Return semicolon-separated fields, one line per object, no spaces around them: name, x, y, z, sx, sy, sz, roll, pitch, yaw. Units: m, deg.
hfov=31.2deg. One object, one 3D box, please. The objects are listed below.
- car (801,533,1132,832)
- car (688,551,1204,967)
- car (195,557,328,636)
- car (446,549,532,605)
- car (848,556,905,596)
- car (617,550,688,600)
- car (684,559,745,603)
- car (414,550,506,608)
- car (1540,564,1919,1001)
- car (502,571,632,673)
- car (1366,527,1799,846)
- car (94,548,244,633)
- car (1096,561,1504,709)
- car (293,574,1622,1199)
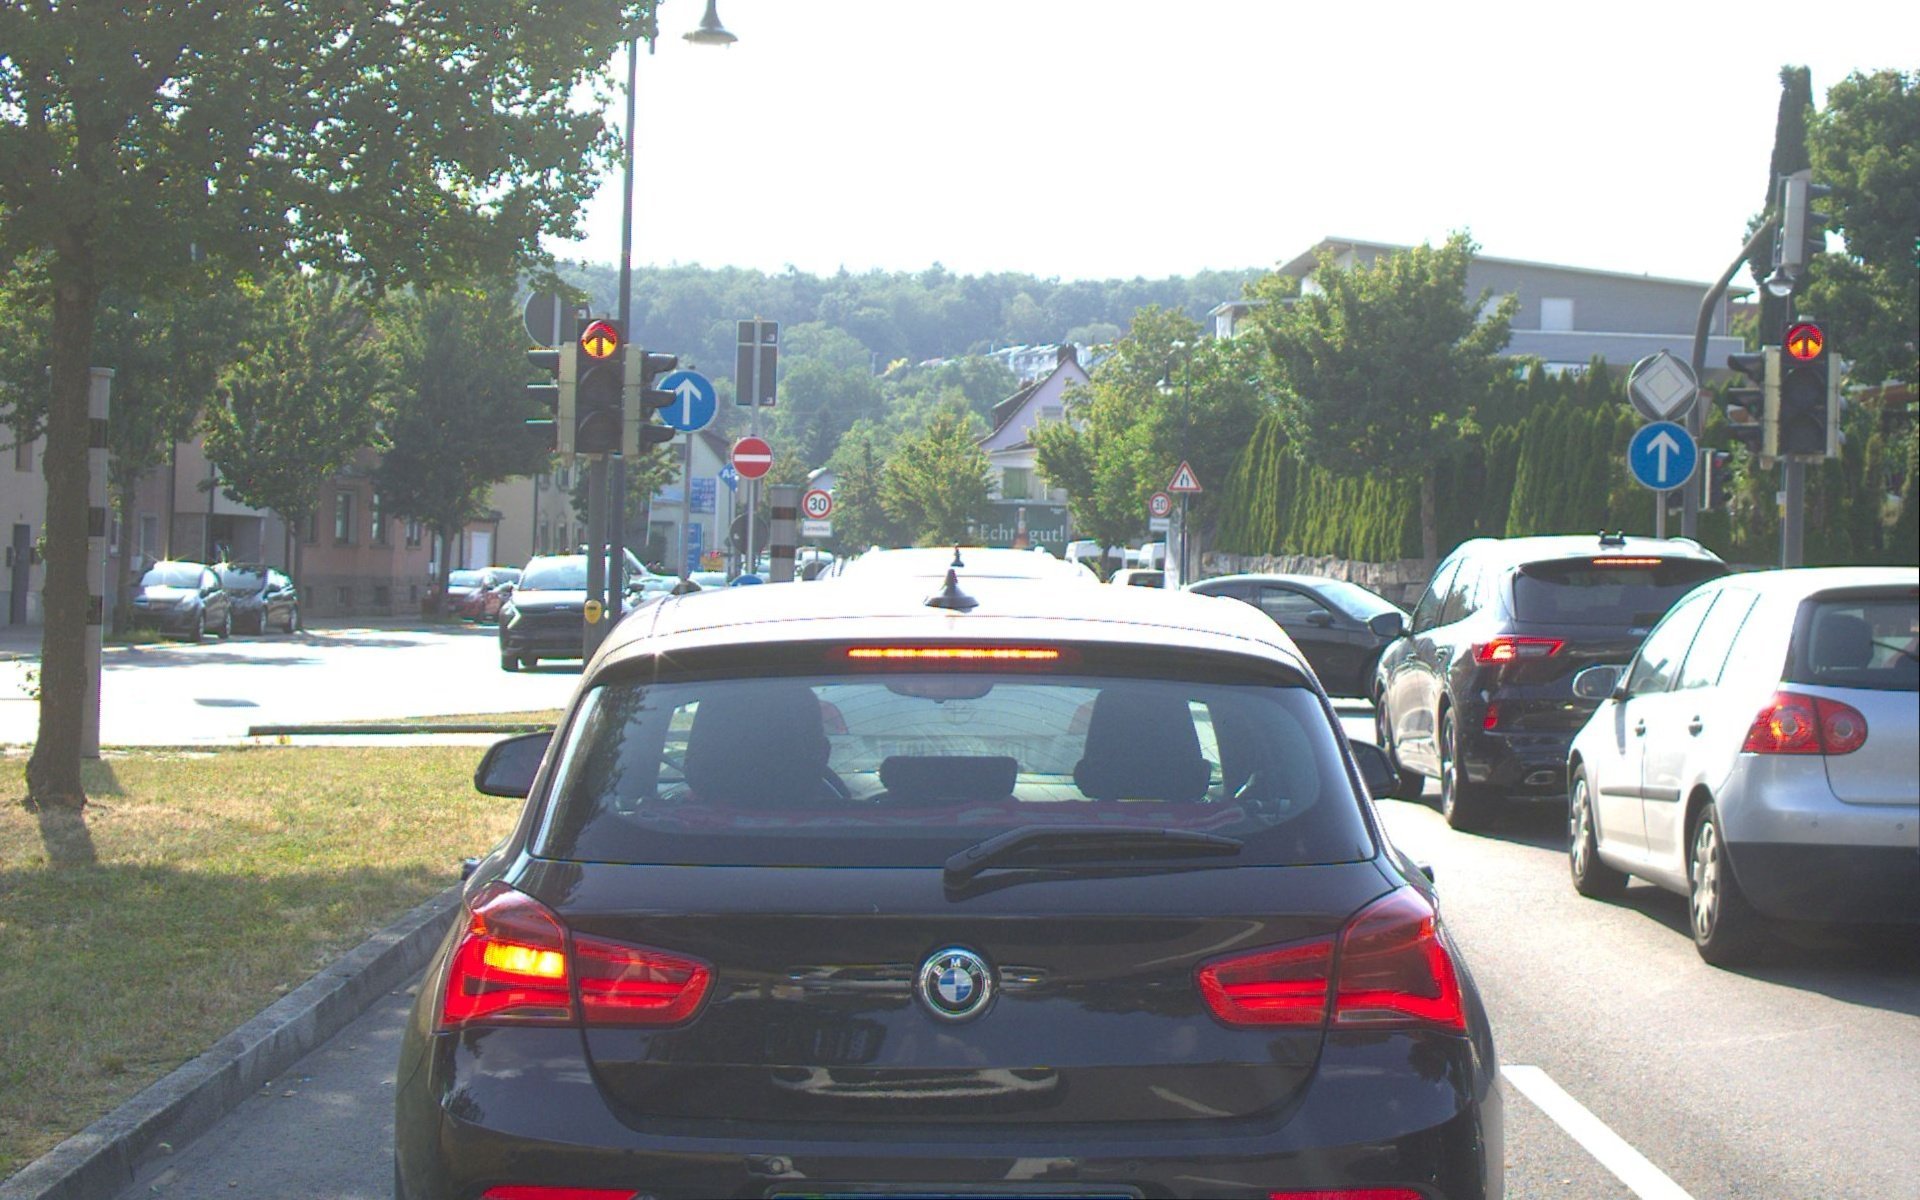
car;0.071;0.423;21.167;1.816;1.635;4.242;1;1;1
car;-0.016;0.534;14.316;1.816;1.446;4.242;1;1;1
car;-14.876;-0.104;73.363;1.924;1.590;4.000;1;1;1
car;-14.061;-0.701;102.809;1.924;1.590;4.000;1;1;1
car;-3.306;-0.965;135.629;1.861;1.480;4.660;1;1;-6
car;-10.286;-0.850;115.383;1.924;1.590;4.000;1;1;1
car;-9.281;-0.728;130.052;1.924;1.590;4.000;1;1;1
car;-14.127;-0.613;97.304;1.924;1.590;4.000;1;1;1
car;3.567;0.599;13.723;1.816;1.441;4.347;1;1;1
car;-5.635;0.292;49.617;1.692;1.348;4.001;1;1;-4
car;3.536;0.422;20.287;1.816;1.660;4.347;1;1;1
car;-15.423;-0.206;67.208;1.924;1.590;4.000;1;1;1
car;3.641;0.340;37.036;3.995;1.453;1.769;1;1;34
car;0.026;0.682;6.828;1.791;1.410;4.347;1;1;1
